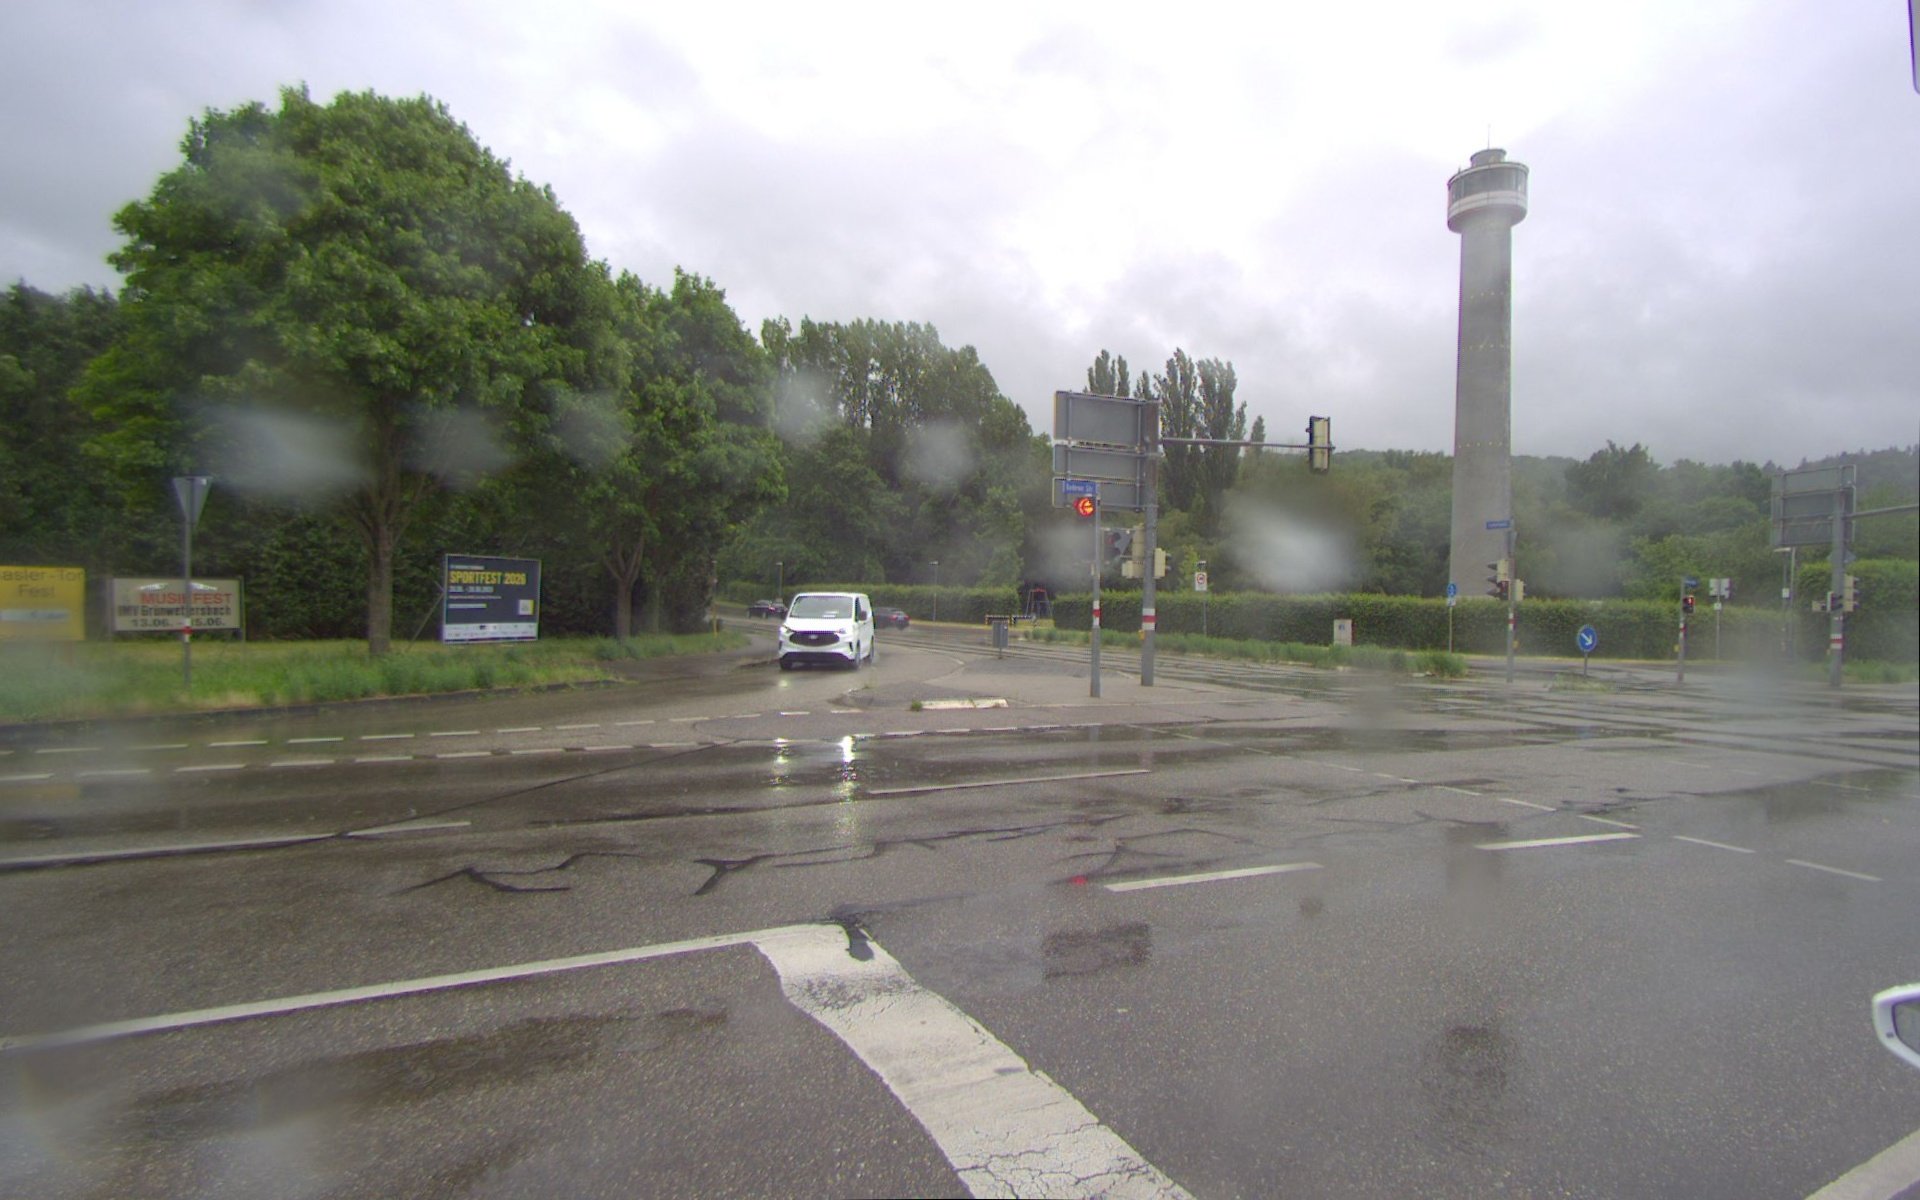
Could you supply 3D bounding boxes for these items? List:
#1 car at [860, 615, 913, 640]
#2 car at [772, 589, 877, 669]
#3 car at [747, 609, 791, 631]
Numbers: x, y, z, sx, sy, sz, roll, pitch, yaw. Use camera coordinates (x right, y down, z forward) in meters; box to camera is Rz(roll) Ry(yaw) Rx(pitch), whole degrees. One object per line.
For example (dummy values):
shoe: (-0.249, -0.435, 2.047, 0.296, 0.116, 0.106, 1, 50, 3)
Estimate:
car: (-4.920, 1.816, 66.787, 1.744, 1.606, 4.079, 1, -1, -35)
car: (-3.483, 0.740, 26.742, 2.071, 1.917, 4.791, 1, -1, 1)
car: (-15.057, 1.572, 79.091, 1.746, 1.606, 4.073, 2, -1, -39)
